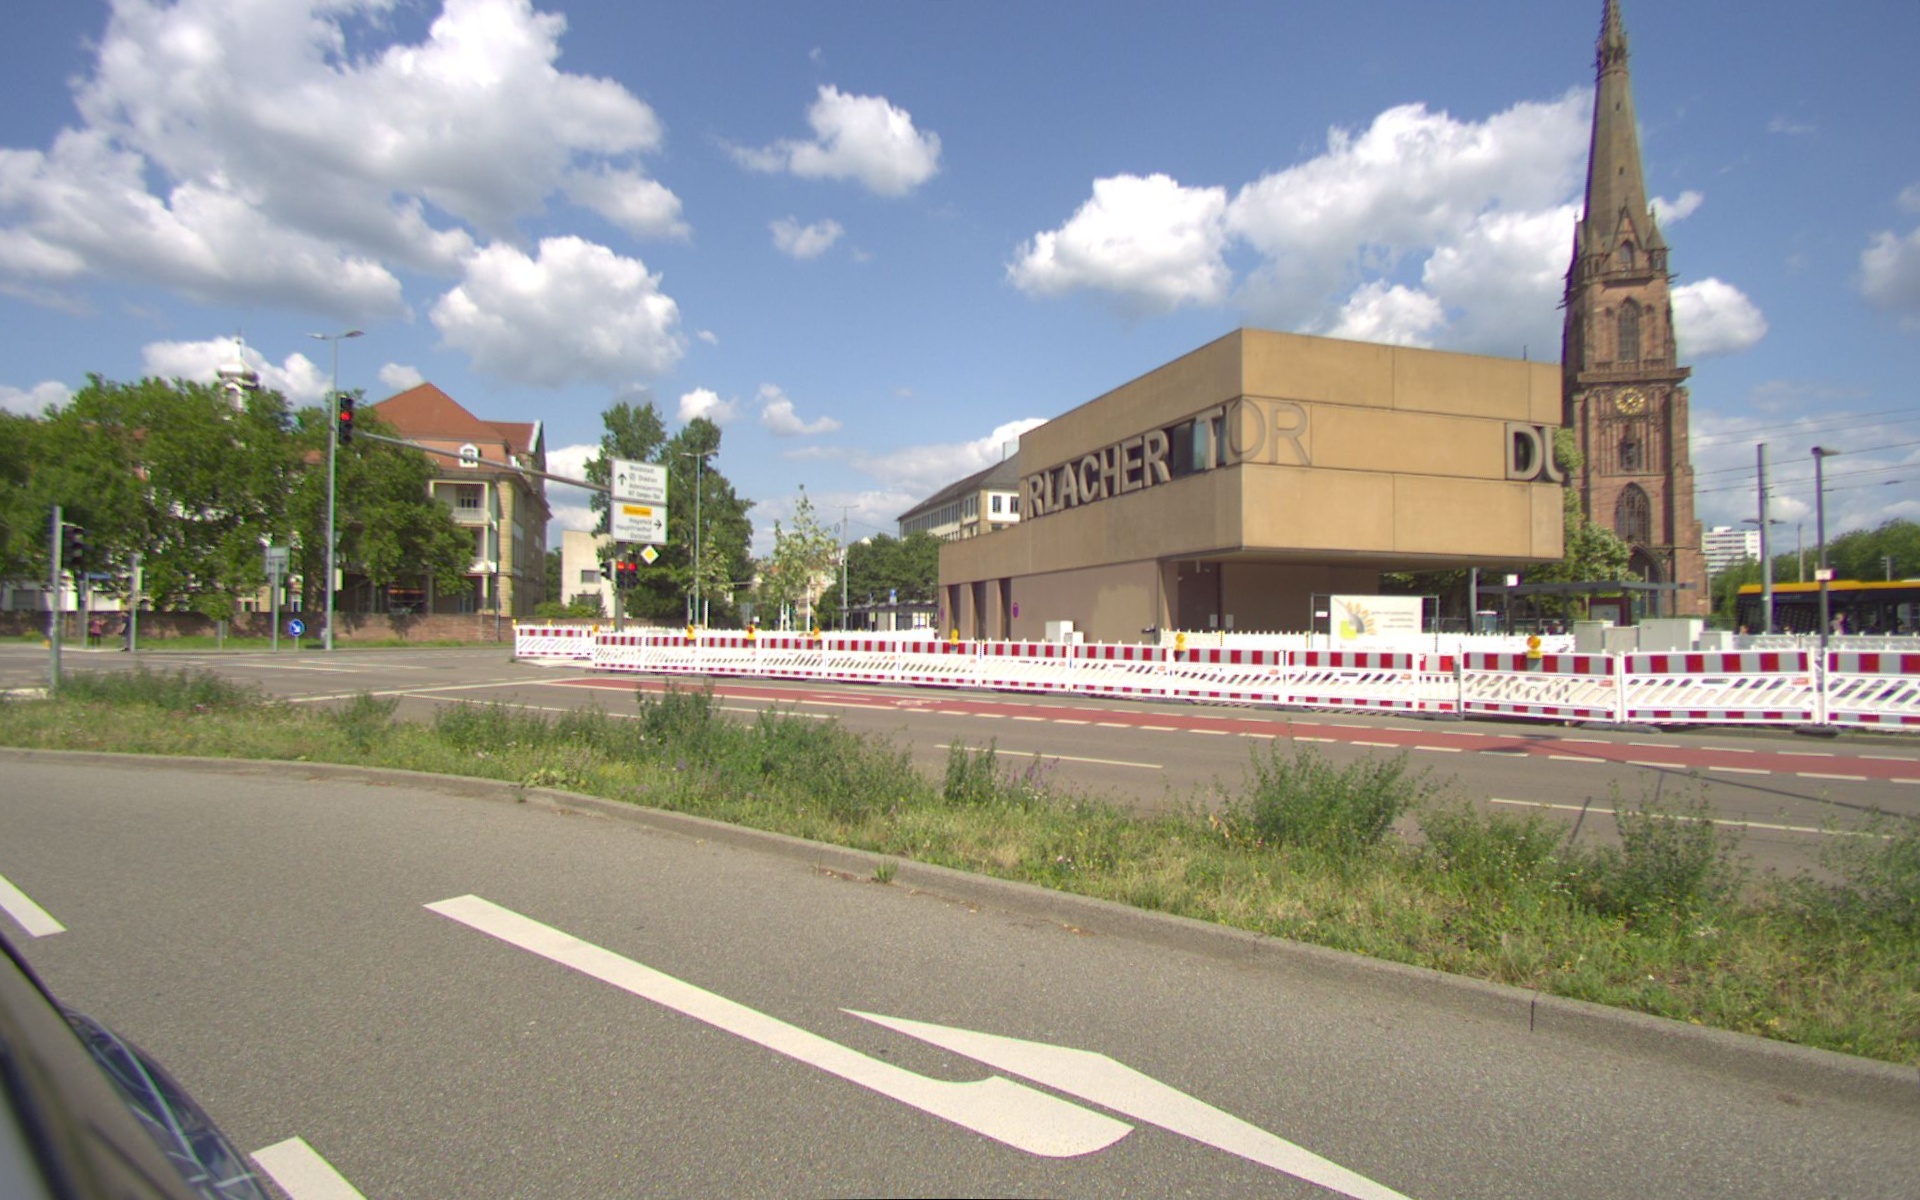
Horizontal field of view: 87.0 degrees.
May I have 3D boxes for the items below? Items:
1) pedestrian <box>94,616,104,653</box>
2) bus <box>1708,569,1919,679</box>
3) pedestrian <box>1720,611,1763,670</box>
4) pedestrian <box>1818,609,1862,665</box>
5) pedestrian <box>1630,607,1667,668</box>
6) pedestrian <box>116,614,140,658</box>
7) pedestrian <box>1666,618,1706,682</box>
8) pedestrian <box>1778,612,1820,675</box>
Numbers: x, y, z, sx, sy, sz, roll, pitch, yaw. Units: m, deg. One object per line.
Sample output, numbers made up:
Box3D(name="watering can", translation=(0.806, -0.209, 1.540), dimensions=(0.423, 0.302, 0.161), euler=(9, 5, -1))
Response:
Box3D(name="pedestrian", translation=(-40.094, 1.599, 47.121), dimensions=(0.364, 1.745, 0.451), euler=(-1, 0, -41))
Box3D(name="bus", translation=(29.223, 0.697, 29.340), dimensions=(2.786, 3.160, 12.879), euler=(1, -2, -17))
Box3D(name="pedestrian", translation=(22.144, 1.139, 28.685), dimensions=(0.752, 1.644, 0.655), euler=(1, -2, -23))
Box3D(name="pedestrian", translation=(26.335, 1.092, 30.298), dimensions=(0.641, 1.644, 0.768), euler=(1, -2, -23))
Box3D(name="pedestrian", translation=(19.004, 1.026, 27.935), dimensions=(0.720, 1.642, 0.561), euler=(1, -2, -27))
Box3D(name="pedestrian", translation=(-38.371, 1.655, 46.677), dimensions=(0.616, 2.009, 0.579), euler=(-1, 0, 13))
Box3D(name="pedestrian", translation=(19.258, 1.313, 26.850), dimensions=(0.763, 1.644, 0.646), euler=(-1, -2, 30))
Box3D(name="pedestrian", translation=(22.131, 1.131, 26.696), dimensions=(0.753, 1.644, 0.654), euler=(1, -2, -34))
